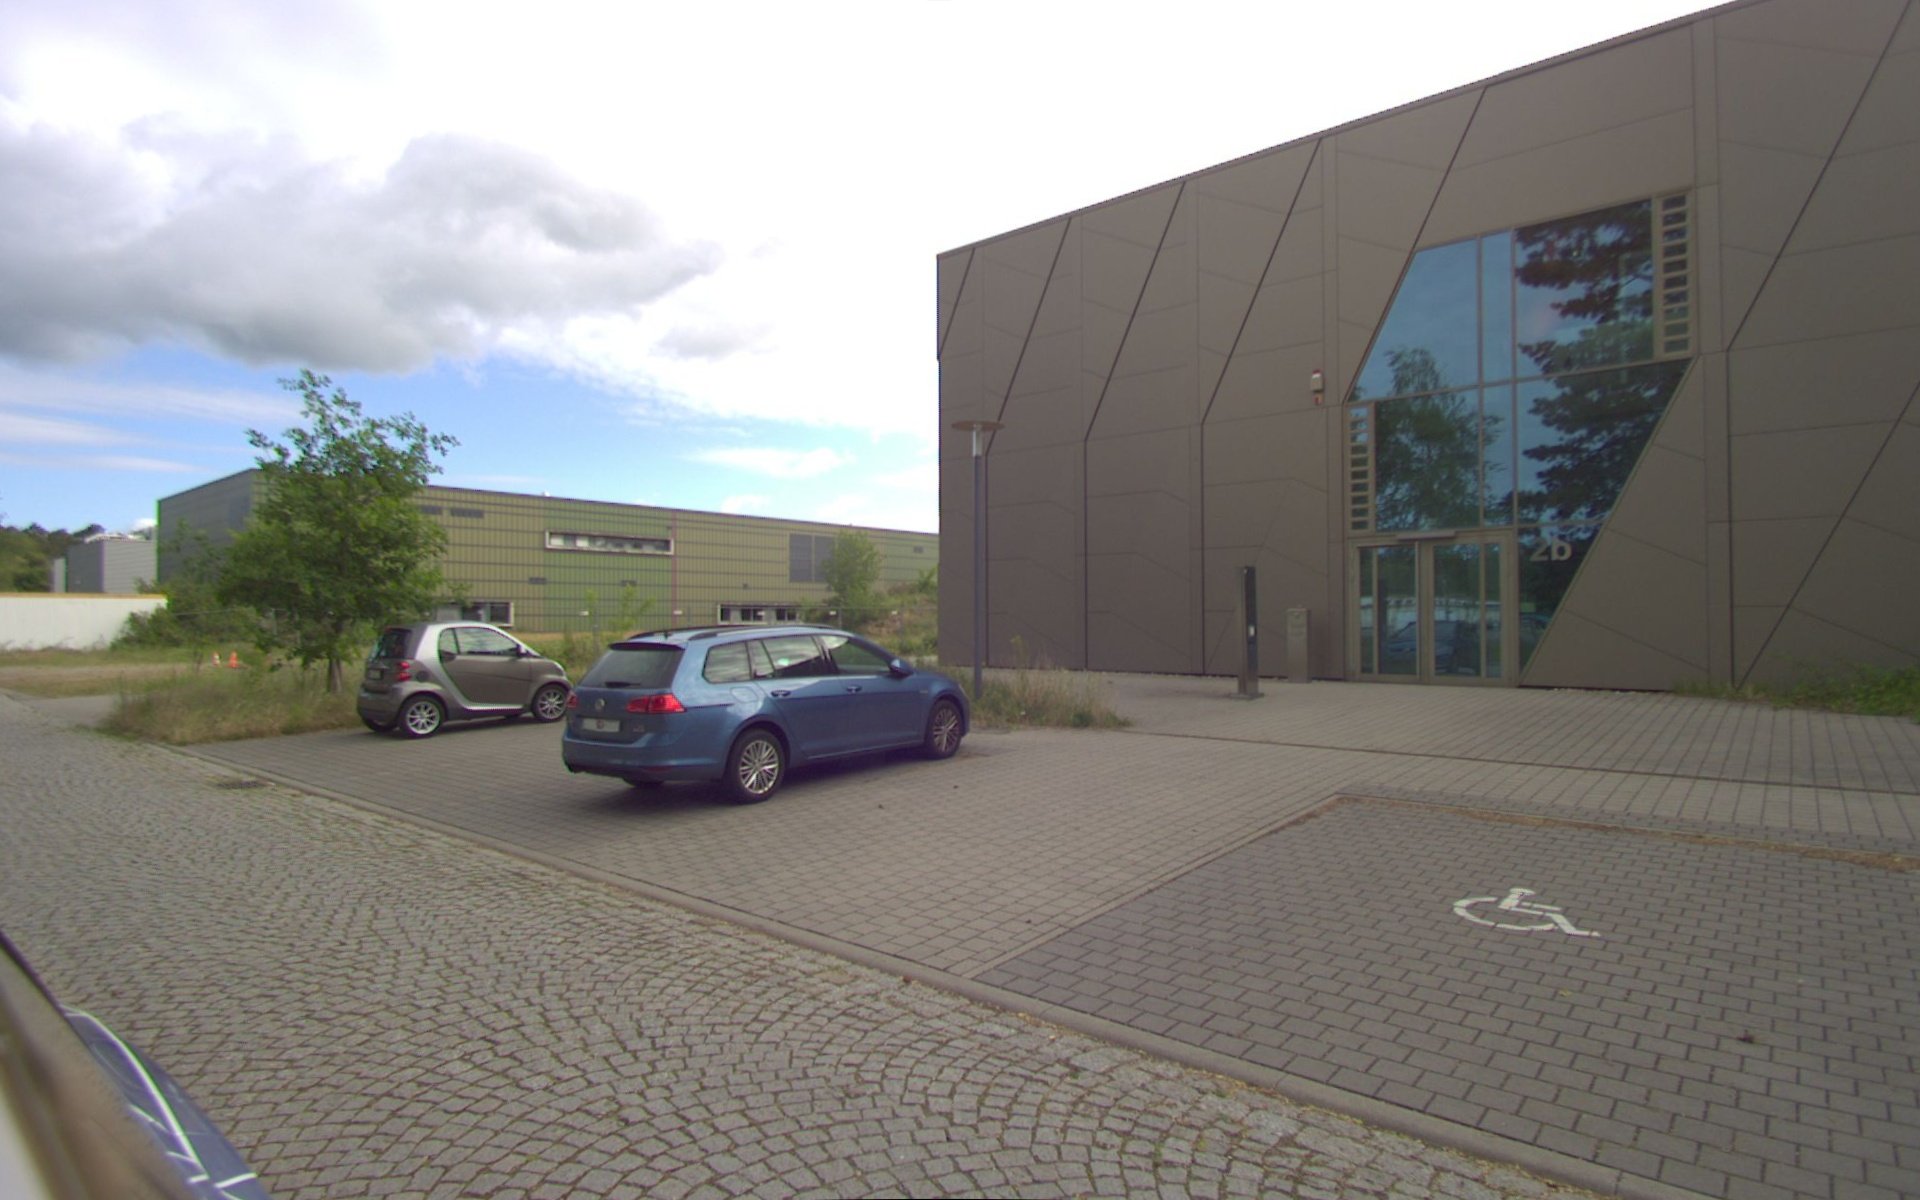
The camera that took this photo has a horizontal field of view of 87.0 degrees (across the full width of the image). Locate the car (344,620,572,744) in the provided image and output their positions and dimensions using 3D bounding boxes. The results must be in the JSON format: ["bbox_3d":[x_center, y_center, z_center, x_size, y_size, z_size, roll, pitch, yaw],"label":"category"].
[{"bbox_3d":[-7.226,1.101,14.680,1.498,1.541,2.553,-1,0,38],"label":"car"}]

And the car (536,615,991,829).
[{"bbox_3d":[-1.641,0.964,9.881,1.631,1.480,4.373,-1,0,38],"label":"car"}]
